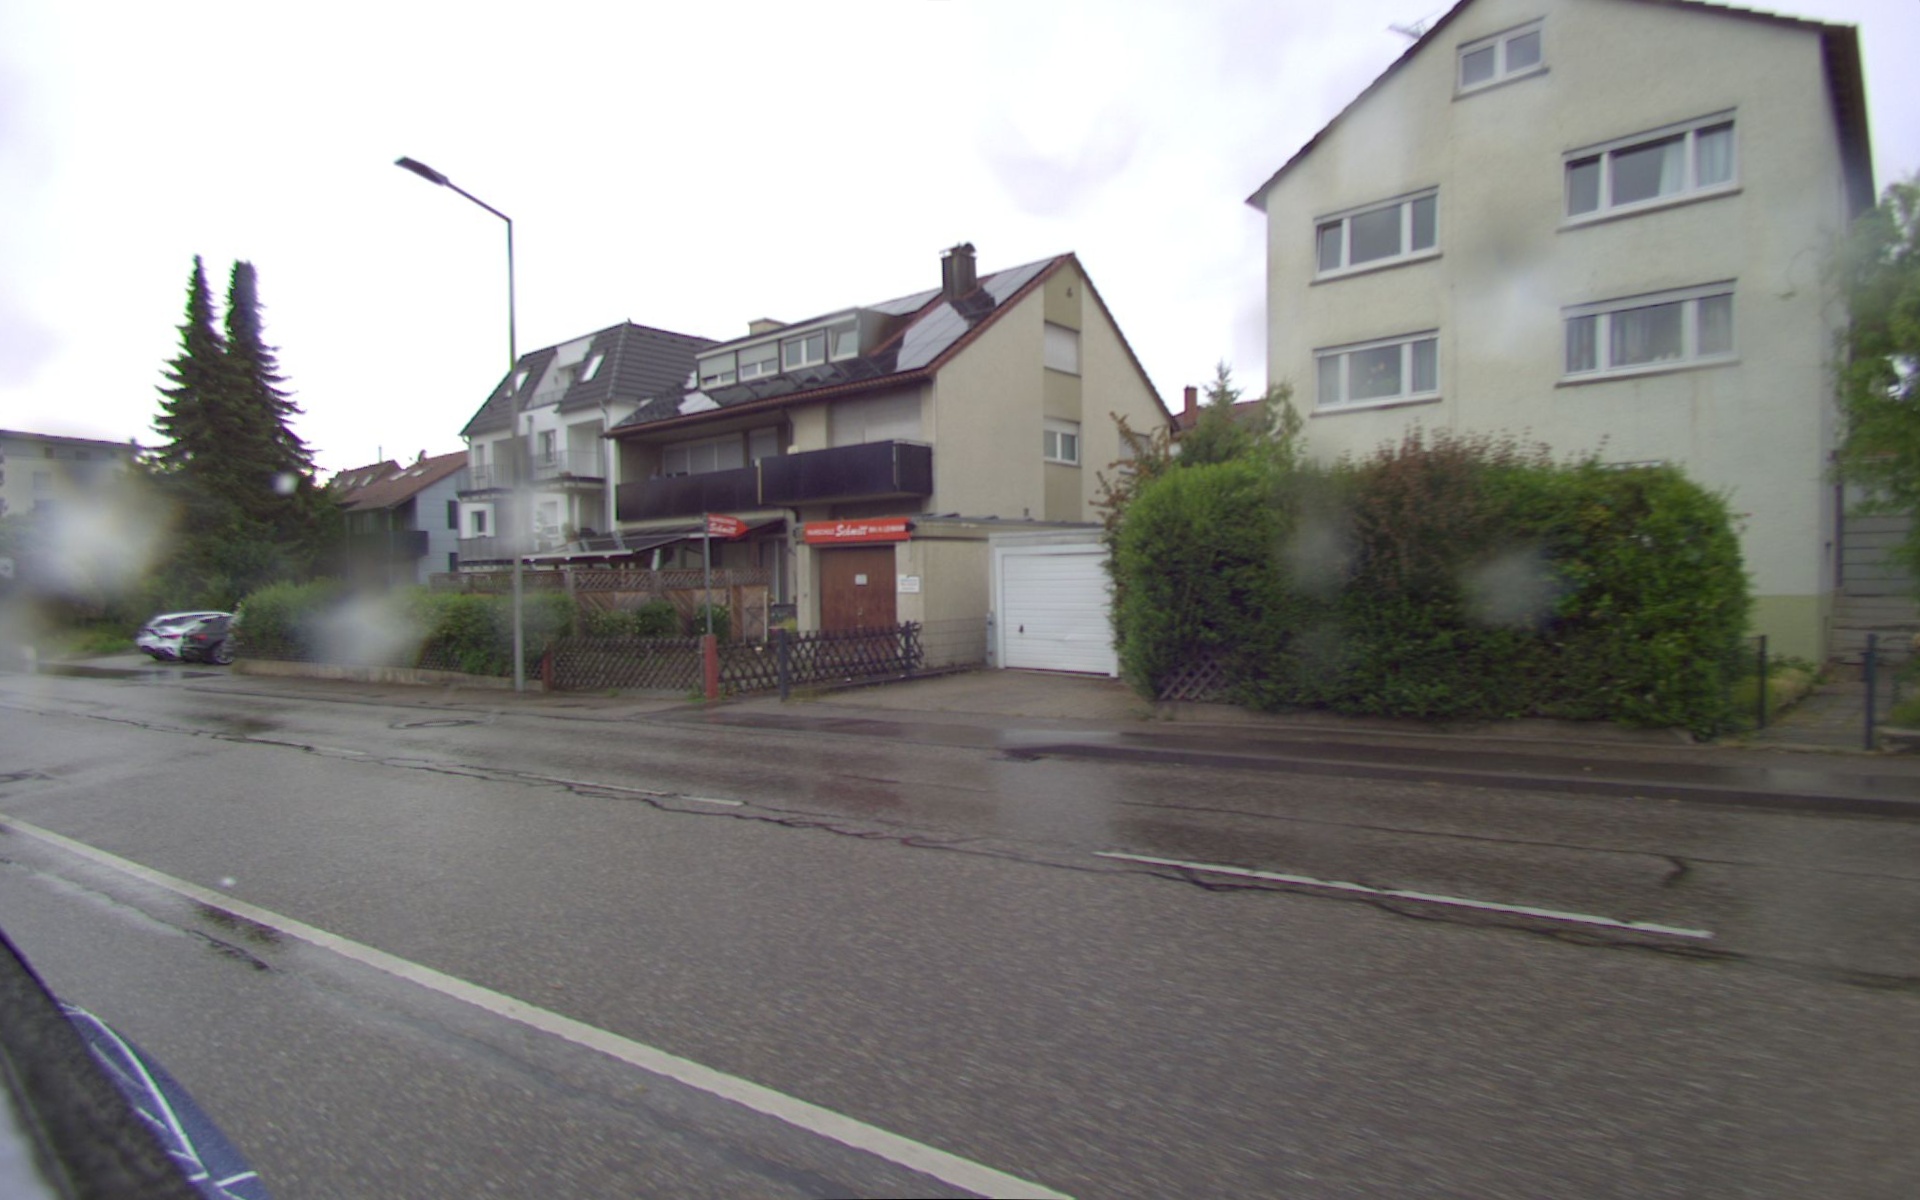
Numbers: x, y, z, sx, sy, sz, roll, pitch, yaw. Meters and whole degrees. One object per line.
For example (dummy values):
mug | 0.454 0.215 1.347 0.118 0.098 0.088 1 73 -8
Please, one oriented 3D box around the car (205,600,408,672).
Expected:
car | -18.327 0.938 28.538 1.999 1.673 4.412 -1 2 41

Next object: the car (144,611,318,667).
car | -23.018 1.181 32.068 1.889 1.453 4.104 -1 2 41

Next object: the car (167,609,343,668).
car | -21.186 1.096 30.538 1.811 1.453 3.986 -1 2 39

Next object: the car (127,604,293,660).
car | -25.048 1.019 33.914 1.998 1.557 4.066 -1 2 39
